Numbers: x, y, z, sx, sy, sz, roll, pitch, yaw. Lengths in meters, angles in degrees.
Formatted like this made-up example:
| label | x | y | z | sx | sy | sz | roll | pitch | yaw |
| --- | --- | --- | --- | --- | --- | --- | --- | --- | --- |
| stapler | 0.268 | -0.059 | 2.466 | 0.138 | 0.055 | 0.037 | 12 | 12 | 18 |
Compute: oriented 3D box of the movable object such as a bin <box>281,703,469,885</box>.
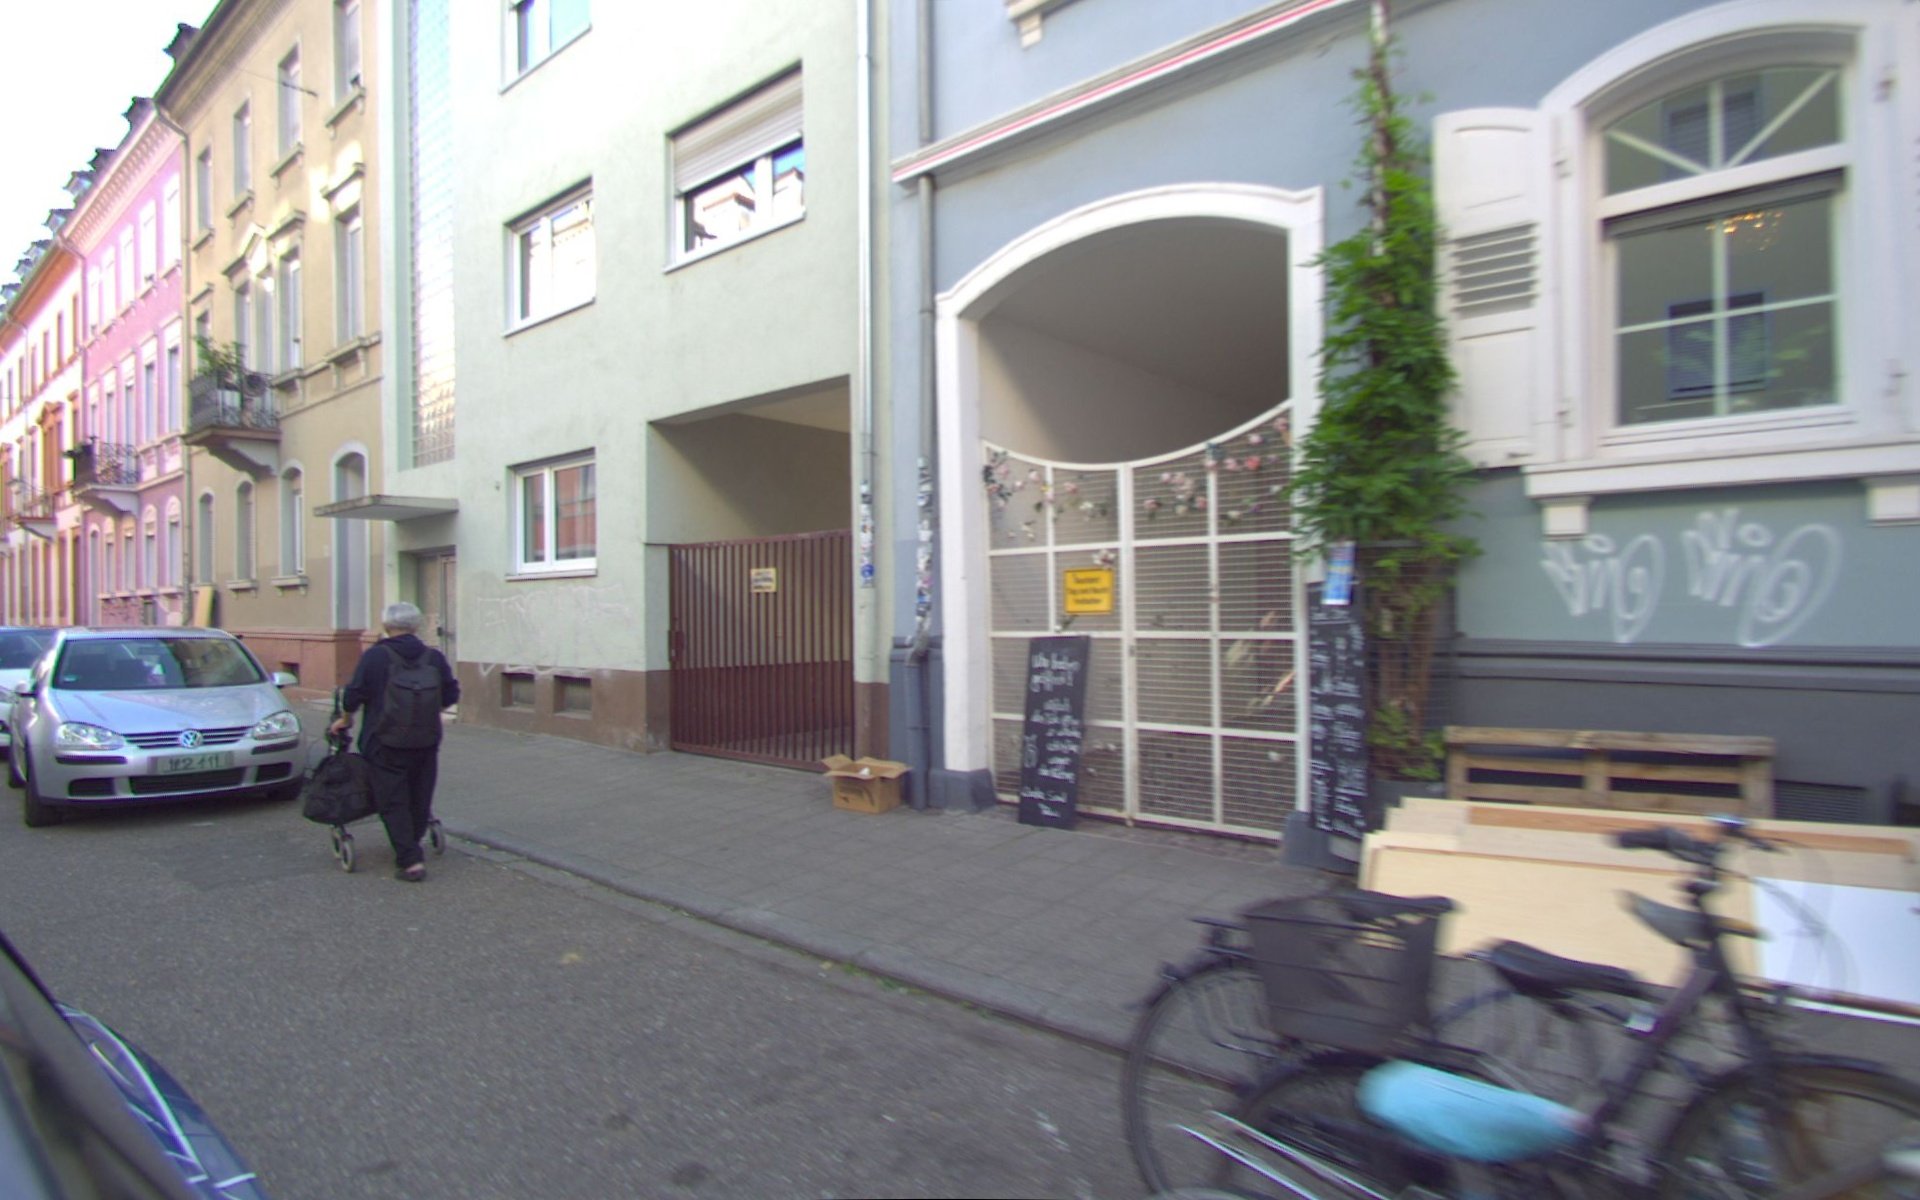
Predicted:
| label | x | y | z | sx | sy | sz | roll | pitch | yaw |
| --- | --- | --- | --- | --- | --- | --- | --- | --- | --- |
| movable object such as a bin | -3.557 | 1.138 | 6.173 | 0.585 | 0.904 | 0.836 | -1 | 0 | 41 |

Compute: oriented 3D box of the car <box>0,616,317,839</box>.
| label | x | y | z | sx | sy | sz | roll | pitch | yaw |
| --- | --- | --- | --- | --- | --- | --- | --- | --- | --- |
| car | -7.055 | 0.901 | 8.695 | 4.034 | 1.466 | 1.662 | -2 | -3 | 44 |

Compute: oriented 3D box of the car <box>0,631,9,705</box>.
| label | x | y | z | sx | sy | sz | roll | pitch | yaw |
| --- | --- | --- | --- | --- | --- | --- | --- | --- | --- |
| car | -20.266 | 1.315 | 20.059 | 4.301 | 1.401 | 1.708 | -2 | -3 | 42 |

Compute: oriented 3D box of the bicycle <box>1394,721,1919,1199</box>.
| label | x | y | z | sx | sy | sz | roll | pitch | yaw |
| --- | --- | --- | --- | --- | --- | --- | --- | --- | --- |
| bicycle | 1.838 | 0.874 | 2.040 | 1.696 | 1.114 | 0.439 | -1 | 0 | 40 |

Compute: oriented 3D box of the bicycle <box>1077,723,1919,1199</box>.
| label | x | y | z | sx | sy | sz | roll | pitch | yaw |
| --- | --- | --- | --- | --- | --- | --- | --- | --- | --- |
| bicycle | 1.163 | 0.891 | 2.102 | 1.872 | 1.114 | 0.439 | -1 | 0 | 39 |

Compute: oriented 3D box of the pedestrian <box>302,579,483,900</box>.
| label | x | y | z | sx | sy | sz | roll | pitch | yaw |
| --- | --- | --- | --- | --- | --- | --- | --- | --- | --- |
| pedestrian | -3.314 | 0.750 | 5.920 | 0.671 | 1.720 | 0.706 | -1 | 0 | 40 |

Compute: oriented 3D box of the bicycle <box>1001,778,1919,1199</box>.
| label | x | y | z | sx | sy | sz | roll | pitch | yaw |
| --- | --- | --- | --- | --- | --- | --- | --- | --- | --- |
| bicycle | 0.925 | 0.870 | 1.082 | 1.828 | 1.114 | 0.494 | -1 | 0 | 40 |

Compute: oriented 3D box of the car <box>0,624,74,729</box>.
| label | x | y | z | sx | sy | sz | roll | pitch | yaw |
| --- | --- | --- | --- | --- | --- | --- | --- | --- | --- |
| car | -15.121 | 1.115 | 15.413 | 4.196 | 1.473 | 1.770 | -2 | -2 | 39 |

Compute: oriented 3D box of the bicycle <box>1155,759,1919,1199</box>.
| label | x | y | z | sx | sy | sz | roll | pitch | yaw |
| --- | --- | --- | --- | --- | --- | --- | --- | --- | --- |
| bicycle | 1.273 | 0.909 | 1.550 | 1.930 | 1.114 | 0.439 | -1 | 0 | 40 |

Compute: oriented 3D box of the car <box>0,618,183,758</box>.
| label | x | y | z | sx | sy | sz | roll | pitch | yaw |
| --- | --- | --- | --- | --- | --- | --- | --- | --- | --- |
| car | -11.134 | 0.969 | 12.379 | 3.997 | 1.463 | 1.772 | -2 | -2 | 40 |
